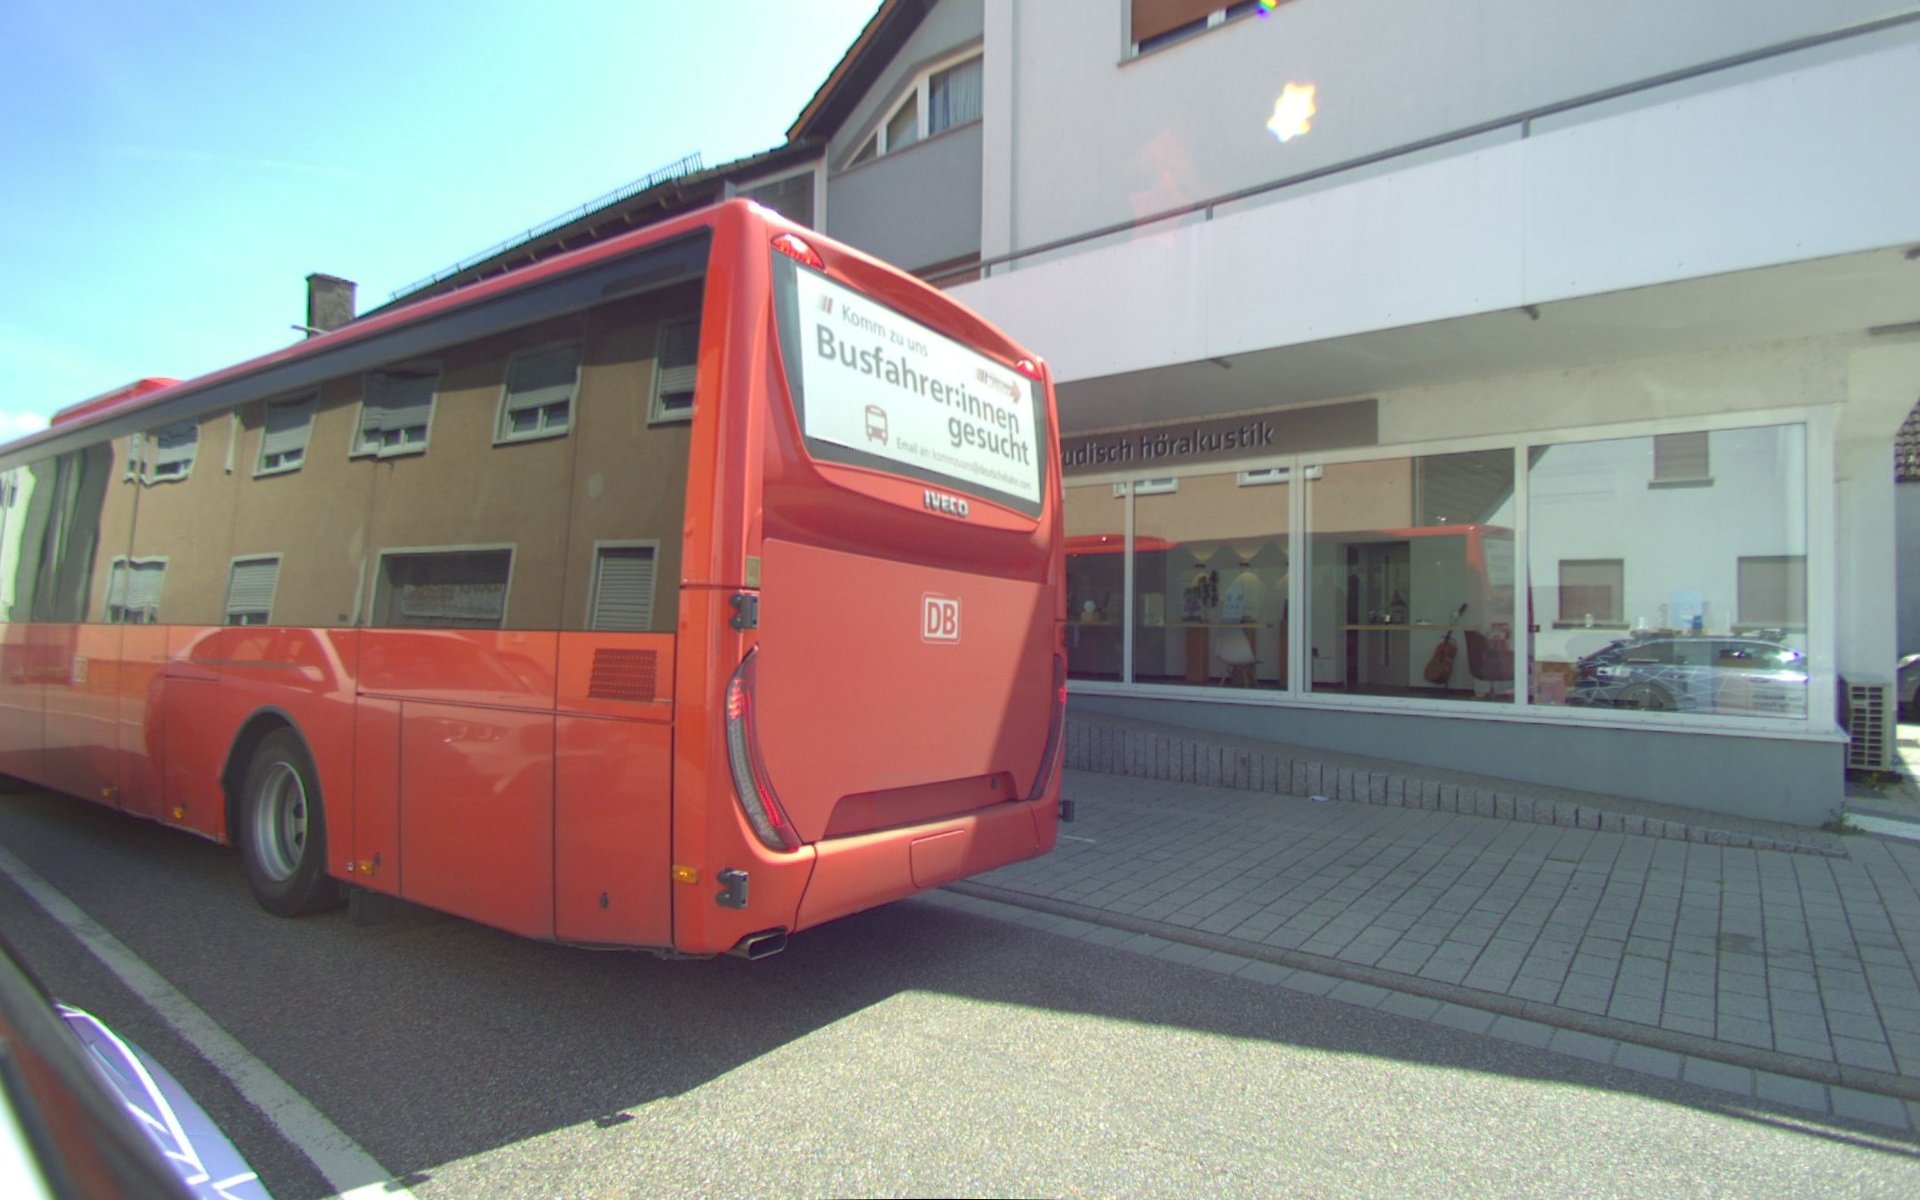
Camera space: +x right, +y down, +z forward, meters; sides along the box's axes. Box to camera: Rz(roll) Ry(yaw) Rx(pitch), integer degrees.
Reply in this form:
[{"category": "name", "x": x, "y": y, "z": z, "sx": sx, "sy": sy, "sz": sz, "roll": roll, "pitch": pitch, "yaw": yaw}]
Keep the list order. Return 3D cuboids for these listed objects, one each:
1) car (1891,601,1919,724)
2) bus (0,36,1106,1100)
[{"category": "car", "x": 16.075, "y": 0.918, "z": 13.837, "sx": 4.742, "sy": 1.752, "sz": 1.962, "roll": 0, "pitch": -1, "yaw": 38}, {"category": "bus", "x": -4.911, "y": -0.016, "z": 7.603, "sx": 11.994, "sy": 3.257, "sz": 2.604, "roll": -1, "pitch": -4, "yaw": 35}]
